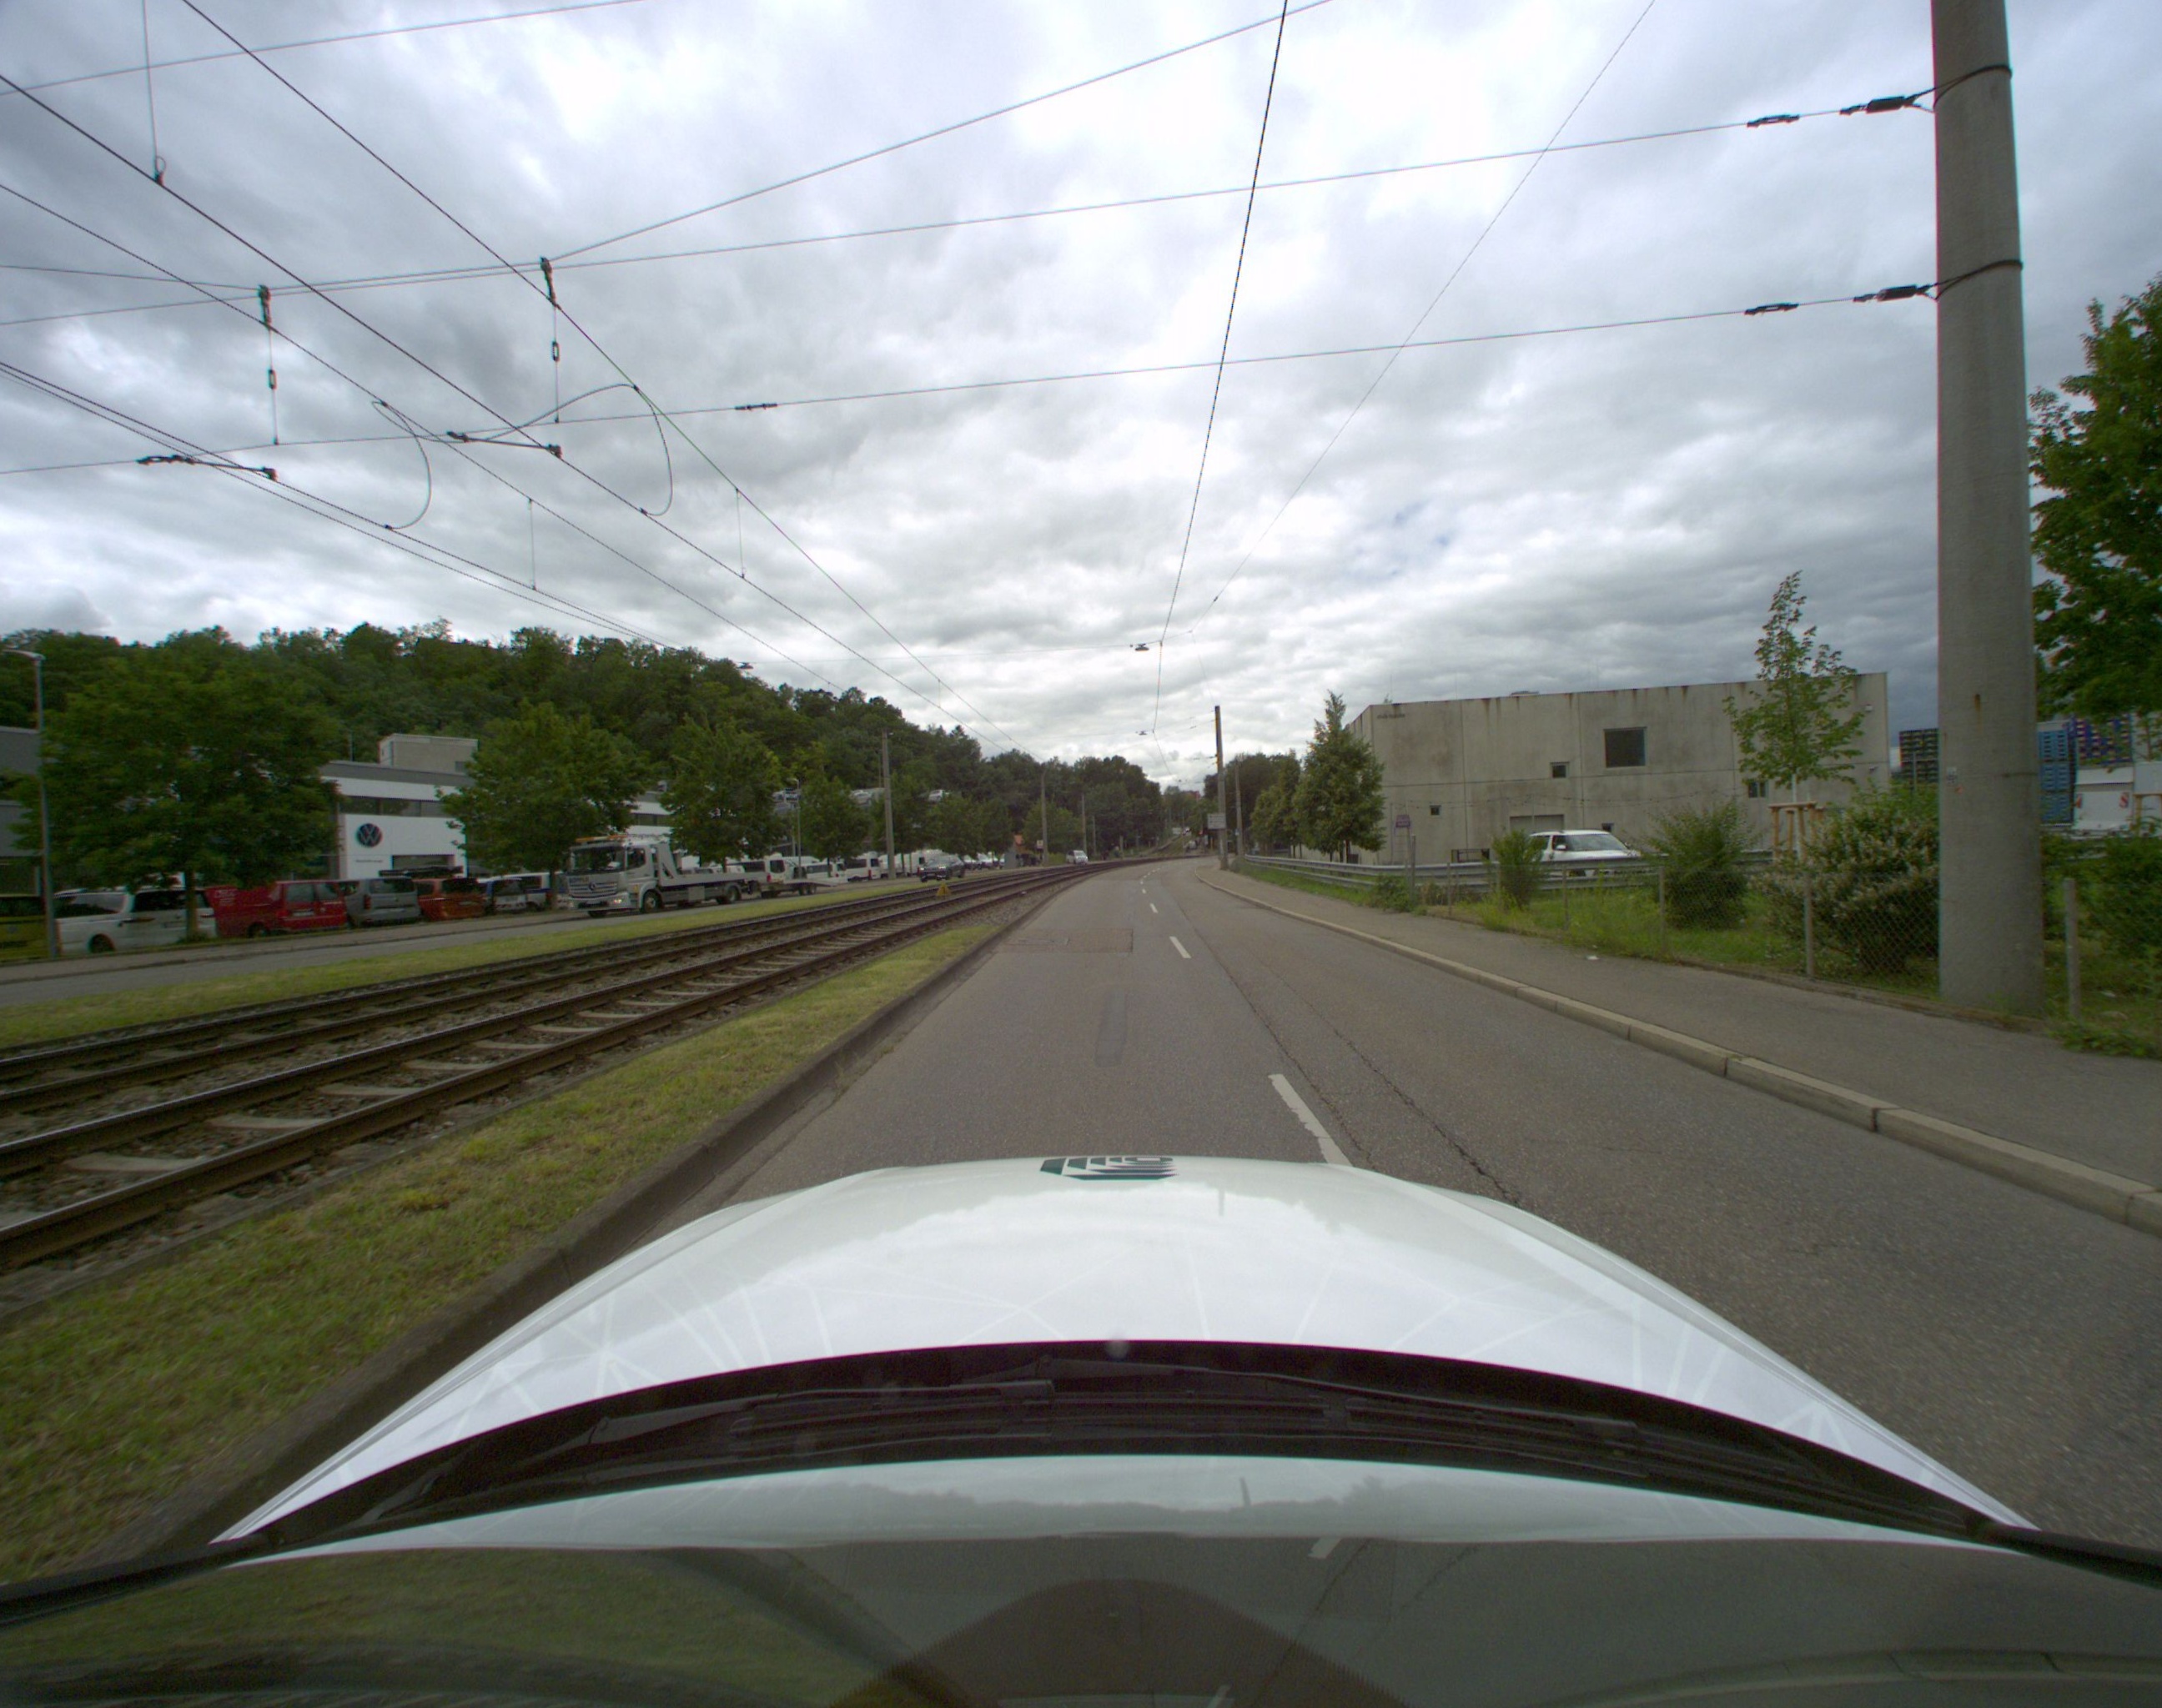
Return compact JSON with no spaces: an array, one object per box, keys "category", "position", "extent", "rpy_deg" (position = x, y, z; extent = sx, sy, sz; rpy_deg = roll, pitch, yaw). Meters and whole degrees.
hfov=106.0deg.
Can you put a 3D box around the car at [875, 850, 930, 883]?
[{"category":"car","position":[-16.333,1.176,74.603],"extent":[4.341,2.819,2.009],"rpy_deg":[-2,0,8]}]

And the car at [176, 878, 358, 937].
[{"category":"car","position":[-25.322,1.646,25.384],"extent":[4.149,1.618,2.070],"rpy_deg":[-2,0,13]}]

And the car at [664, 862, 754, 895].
[{"category":"car","position":[-21.819,1.409,47.825],"extent":[4.340,1.688,2.036],"rpy_deg":[-2,0,8]}]

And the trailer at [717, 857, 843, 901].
[{"category":"trailer","position":[-14.204,1.096,39.082],"extent":[2.368,1.698,6.967],"rpy_deg":[-4,0,10]}]

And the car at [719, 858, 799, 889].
[{"category":"car","position":[-20.947,1.271,53.038],"extent":[4.336,1.845,2.011],"rpy_deg":[-2,0,12]}]

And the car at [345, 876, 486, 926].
[{"category":"car","position":[-24.769,1.744,30.366],"extent":[3.959,1.618,2.007],"rpy_deg":[-2,0,13]}]

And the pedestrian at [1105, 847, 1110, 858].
[{"category":"pedestrian","position":[4.613,-0.254,142.247],"extent":[0.671,1.813,0.859],"rpy_deg":[0,1,14]}]

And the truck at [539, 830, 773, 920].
[{"category":"truck","position":[-15.609,0.658,31.090],"extent":[2.740,2.741,9.243],"rpy_deg":[-4,0,9]}]

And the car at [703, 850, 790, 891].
[{"category":"car","position":[-20.639,1.023,50.340],"extent":[4.465,2.311,2.133],"rpy_deg":[-2,0,12]}]

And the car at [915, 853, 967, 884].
[{"category":"car","position":[-8.927,0.919,52.369],"extent":[1.984,1.739,4.541],"rpy_deg":[-4,-1,6]}]

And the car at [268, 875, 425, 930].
[{"category":"car","position":[-25.256,1.641,28.061],"extent":[3.959,1.664,2.055],"rpy_deg":[-2,0,13]}]

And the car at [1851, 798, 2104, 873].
[{"category":"car","position":[23.550,-0.456,21.727],"extent":[1.901,1.720,4.697],"rpy_deg":[-2,0,7]}]

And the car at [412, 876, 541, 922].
[{"category":"car","position":[-24.300,1.790,32.799],"extent":[3.959,1.618,2.007],"rpy_deg":[-2,0,13]}]

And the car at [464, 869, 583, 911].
[{"category":"car","position":[-23.978,1.536,35.082],"extent":[3.959,1.618,2.007],"rpy_deg":[-2,0,13]}]

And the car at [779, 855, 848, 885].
[{"category":"car","position":[-19.840,1.204,60.445],"extent":[4.341,2.010,2.009],"rpy_deg":[-2,0,8]}]

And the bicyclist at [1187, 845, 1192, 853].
[{"category":"bicyclist","position":[26.448,-1.165,198.386],"extent":[1.046,1.849,0.822],"rpy_deg":[-3,0,-5]}]

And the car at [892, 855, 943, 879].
[{"category":"car","position":[-15.871,1.232,79.349],"extent":[4.341,2.105,2.009],"rpy_deg":[2,1,8]}]

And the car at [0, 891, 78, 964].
[{"category":"car","position":[-26.936,1.795,19.355],"extent":[4.306,1.618,2.162],"rpy_deg":[-2,0,13]}]

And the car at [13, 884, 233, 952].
[{"category":"car","position":[-26.351,1.742,22.462],"extent":[4.315,1.618,2.128],"rpy_deg":[-2,0,13]}]

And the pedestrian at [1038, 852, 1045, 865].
[{"category":"pedestrian","position":[-4.899,0.536,100.151],"extent":[0.714,1.655,1.044],"rpy_deg":[0,1,5]}]

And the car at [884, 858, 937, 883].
[{"category":"car","position":[-16.073,1.554,76.863],"extent":[4.341,2.105,2.009],"rpy_deg":[-2,0,8]}]

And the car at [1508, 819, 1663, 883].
[{"category":"car","position":[13.605,-0.118,22.311],"extent":[1.741,1.574,4.435],"rpy_deg":[0,1,4]}]

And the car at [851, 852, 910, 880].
[{"category":"car","position":[-17.079,0.985,69.469],"extent":[4.341,2.173,2.009],"rpy_deg":[-2,0,8]}]

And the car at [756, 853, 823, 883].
[{"category":"car","position":[-28.195,1.308,78.892],"extent":[5.949,2.602,1.992],"rpy_deg":[-2,0,-18]}]

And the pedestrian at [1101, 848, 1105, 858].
[{"category":"pedestrian","position":[3.865,-0.217,142.281],"extent":[0.623,1.713,0.859],"rpy_deg":[0,1,14]}]

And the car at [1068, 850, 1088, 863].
[{"category":"car","position":[-0.486,0.366,118.590],"extent":[2.160,1.888,5.054],"rpy_deg":[0,0,-10]}]

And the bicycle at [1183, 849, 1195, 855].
[{"category":"bicycle","position":[26.305,-0.504,198.372],"extent":[2.982,1.343,0.825],"rpy_deg":[-2,0,-6]}]

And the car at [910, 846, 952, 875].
[{"category":"car","position":[-16.054,0.652,87.624],"extent":[2.093,3.019,5.959],"rpy_deg":[-2,0,14]}]

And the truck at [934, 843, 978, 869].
[{"category":"truck","position":[-15.762,0.272,102.653],"extent":[5.862,3.085,2.133],"rpy_deg":[-2,0,41]}]

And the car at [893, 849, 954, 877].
[{"category":"car","position":[-15.927,0.867,82.393],"extent":[5.436,2.602,2.254],"rpy_deg":[-2,0,11]}]

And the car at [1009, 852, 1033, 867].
[{"category":"car","position":[-8.338,0.753,114.060],"extent":[1.981,2.013,5.145],"rpy_deg":[-2,0,10]}]

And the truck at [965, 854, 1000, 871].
[{"category":"truck","position":[-15.608,1.330,129.083],"extent":[5.006,2.588,2.484],"rpy_deg":[-2,0,37]}]

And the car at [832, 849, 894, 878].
[{"category":"car","position":[-17.921,0.758,67.067],"extent":[4.341,2.173,2.009],"rpy_deg":[-2,0,8]}]

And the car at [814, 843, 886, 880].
[{"category":"car","position":[-18.282,0.583,64.454],"extent":[4.938,2.698,2.120],"rpy_deg":[-2,0,8]}]

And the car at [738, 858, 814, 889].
[{"category":"car","position":[-20.659,1.321,55.281],"extent":[4.336,1.947,2.011],"rpy_deg":[-2,0,12]}]

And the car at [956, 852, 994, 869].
[{"category":"car","position":[-13.563,0.812,104.246],"extent":[4.669,2.013,2.013],"rpy_deg":[-2,0,39]}]

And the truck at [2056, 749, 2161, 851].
[{"category":"truck","position":[35.515,-1.619,24.562],"extent":[7.681,3.037,2.362],"rpy_deg":[0,-1,20]}]

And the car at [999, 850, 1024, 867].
[{"category":"car","position":[-9.240,0.583,108.078],"extent":[1.981,2.013,4.933],"rpy_deg":[-2,0,10]}]

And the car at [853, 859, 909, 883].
[{"category":"car","position":[-17.742,1.499,72.397],"extent":[4.341,1.910,2.009],"rpy_deg":[-2,0,8]}]

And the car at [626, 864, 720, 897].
[{"category":"car","position":[-22.695,1.456,45.368],"extent":[4.336,1.618,2.011],"rpy_deg":[-2,0,12]}]
